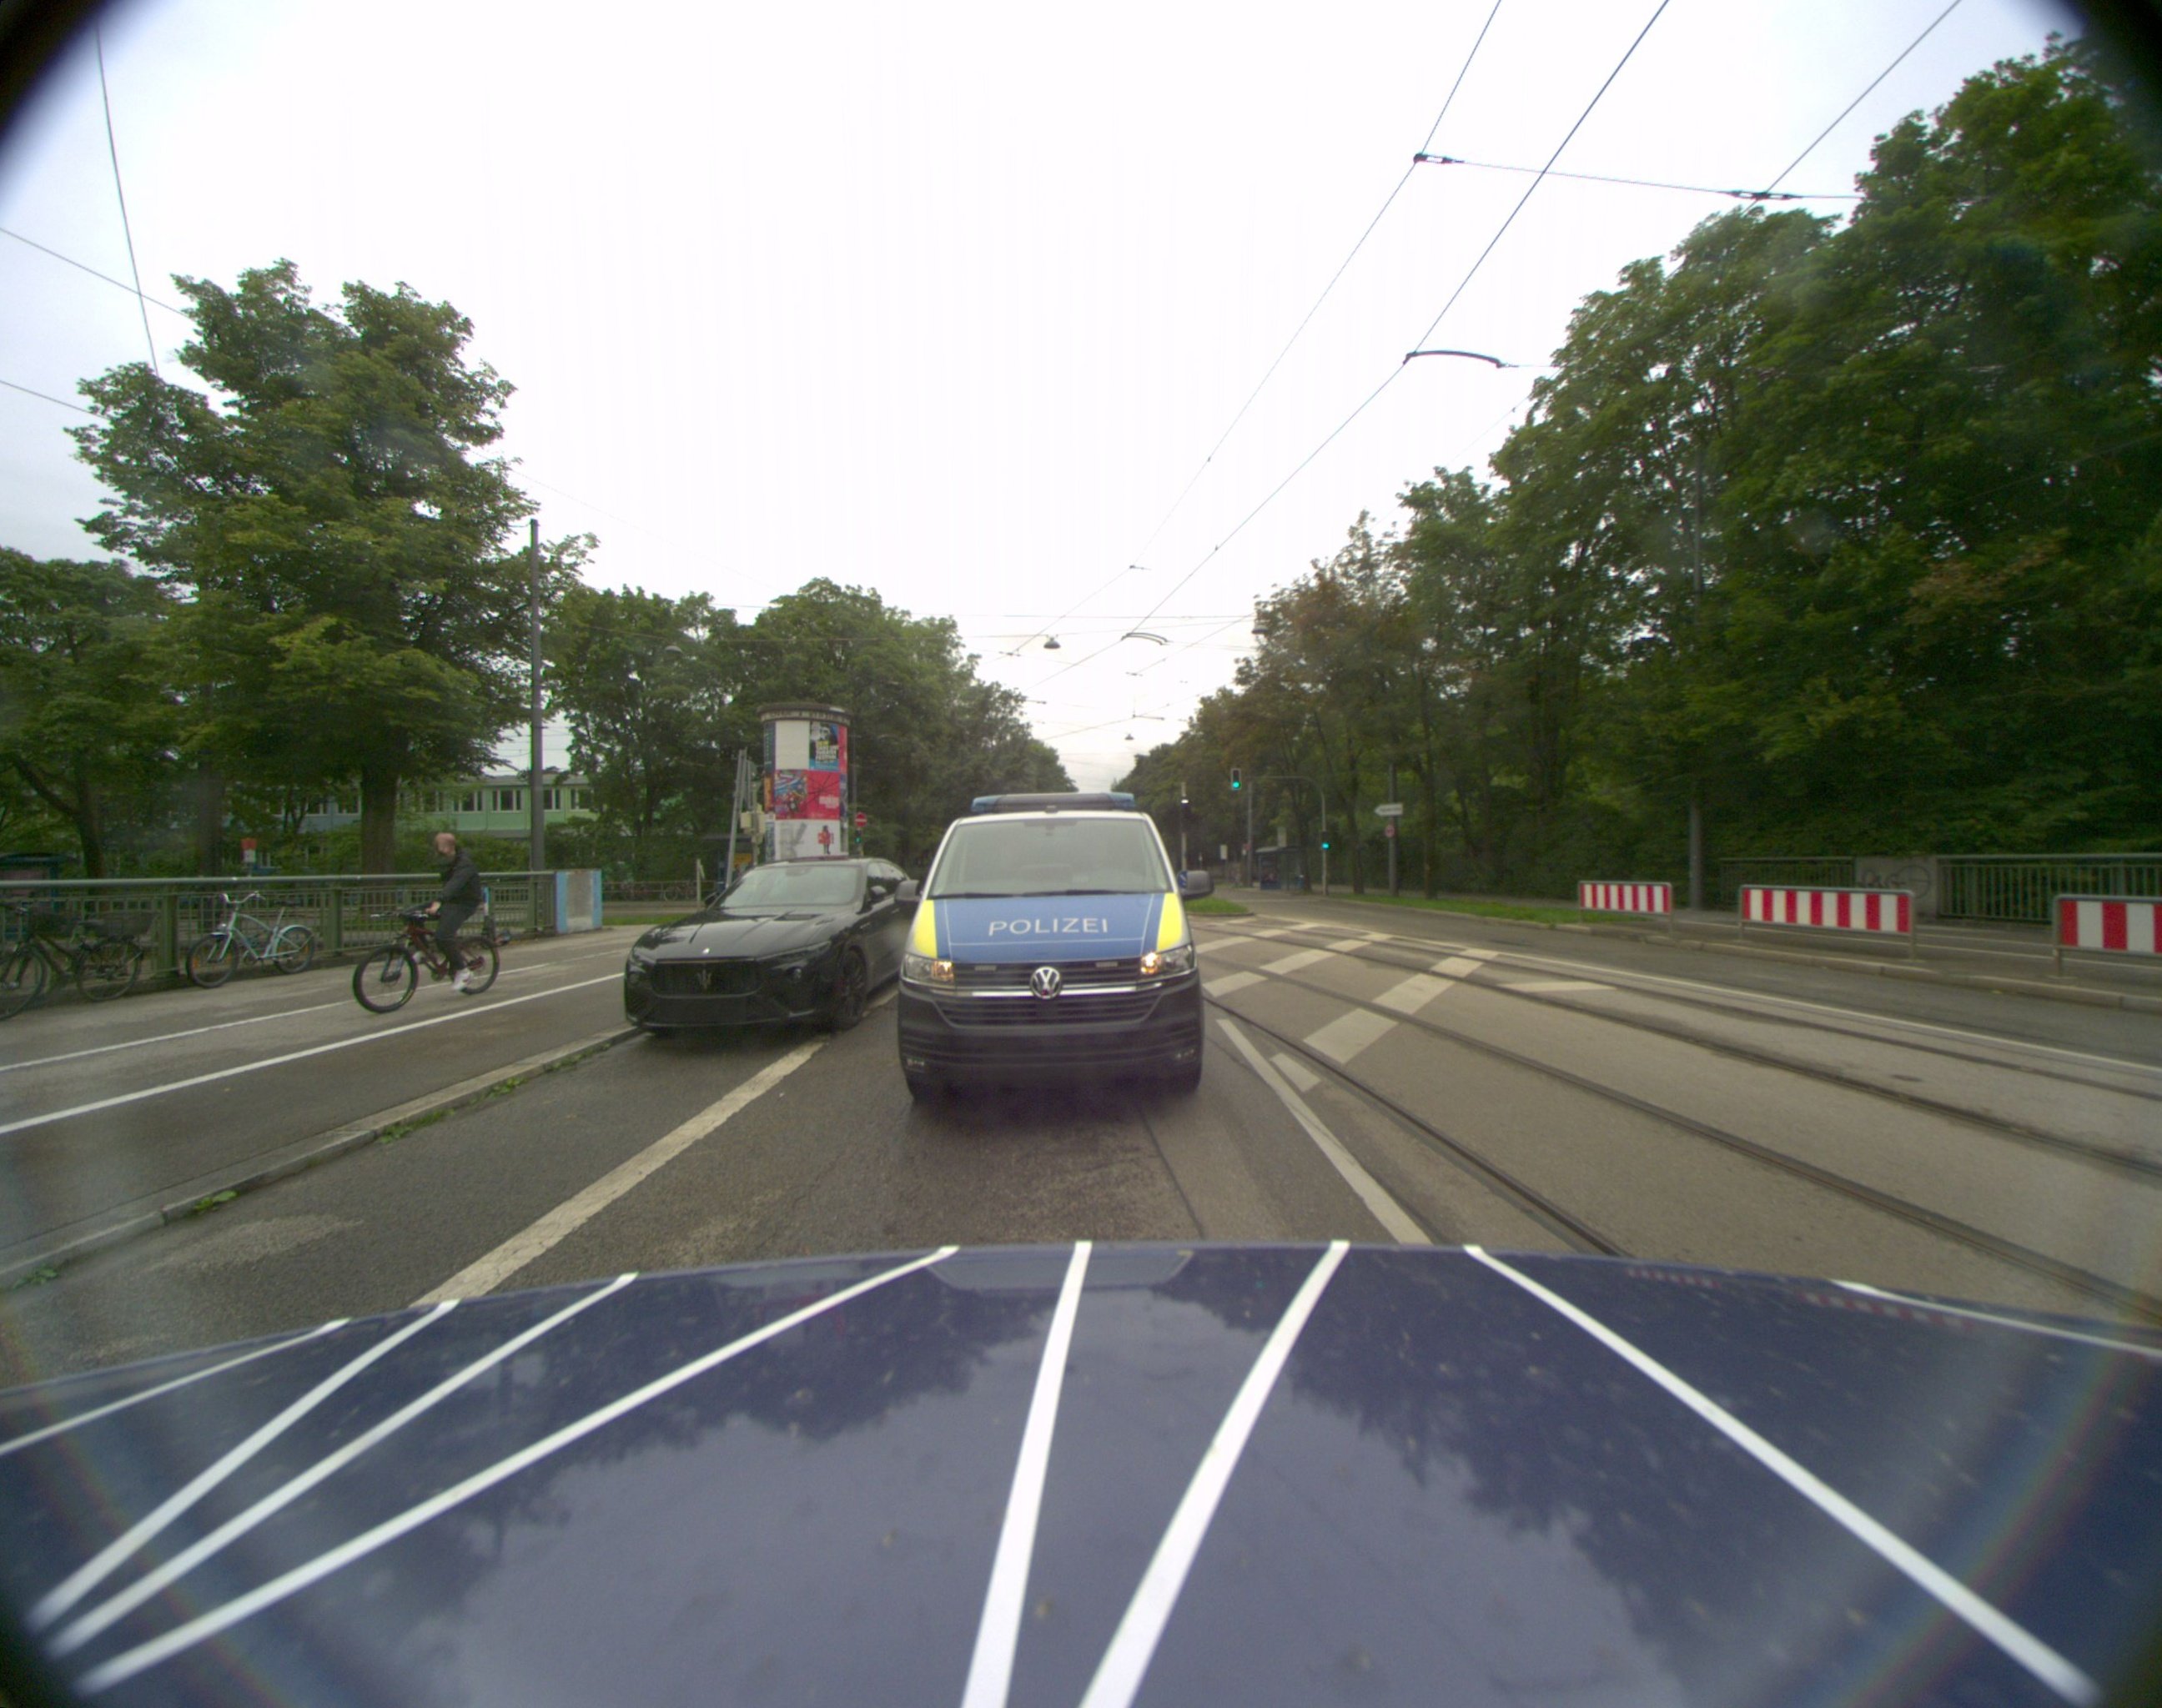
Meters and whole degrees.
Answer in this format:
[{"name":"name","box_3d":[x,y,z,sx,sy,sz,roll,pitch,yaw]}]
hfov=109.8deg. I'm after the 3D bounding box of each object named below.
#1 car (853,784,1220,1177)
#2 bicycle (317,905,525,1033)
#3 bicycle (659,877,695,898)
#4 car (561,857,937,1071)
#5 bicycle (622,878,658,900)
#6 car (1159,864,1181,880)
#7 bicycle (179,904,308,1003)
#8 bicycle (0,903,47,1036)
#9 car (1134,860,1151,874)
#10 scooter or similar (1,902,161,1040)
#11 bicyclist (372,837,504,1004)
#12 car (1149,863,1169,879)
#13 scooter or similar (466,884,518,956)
[{"name":"car","box_3d":[-0.276,0.659,6.849,1.903,2.041,5.708,-1,0,-1]},{"name":"bicycle","box_3d":[-6.975,1.160,8.179,0.580,1.072,1.912,1,0,0]},{"name":"bicycle","box_3d":[-18.857,1.549,35.461,1.483,0.946,0.373,-1,1,3]},{"name":"car","box_3d":[-3.052,0.888,8.298,1.905,1.600,4.665,-3,-1,1]},{"name":"bicycle","box_3d":[-20.755,1.646,35.757,1.483,0.946,0.373,-1,1,3]},{"name":"car","box_3d":[9.947,2.019,85.552,1.888,1.531,3.999,-3,0,-1]},{"name":"bicycle","box_3d":[-10.749,1.237,9.811,0.265,1.076,1.540,-3,0,-14]},{"name":"bicycle","box_3d":[-10.600,1.140,7.116,0.283,1.274,1.408,-3,0,-19]},{"name":"car","box_3d":[8.592,1.823,105.741,1.888,1.716,3.999,-3,0,-1]},{"name":"scooter or similar","box_3d":[-10.595,1.181,8.109,0.245,1.255,1.493,-3,0,-22]},{"name":"bicyclist","box_3d":[-6.997,0.699,8.309,0.726,1.719,0.726,-3,1,0]},{"name":"car","box_3d":[9.330,2.016,91.079,1.888,1.716,3.999,-3,0,-1]},{"name":"scooter or similar","box_3d":[-10.621,1.176,13.722,0.225,1.205,1.020,-3,1,-8]}]
